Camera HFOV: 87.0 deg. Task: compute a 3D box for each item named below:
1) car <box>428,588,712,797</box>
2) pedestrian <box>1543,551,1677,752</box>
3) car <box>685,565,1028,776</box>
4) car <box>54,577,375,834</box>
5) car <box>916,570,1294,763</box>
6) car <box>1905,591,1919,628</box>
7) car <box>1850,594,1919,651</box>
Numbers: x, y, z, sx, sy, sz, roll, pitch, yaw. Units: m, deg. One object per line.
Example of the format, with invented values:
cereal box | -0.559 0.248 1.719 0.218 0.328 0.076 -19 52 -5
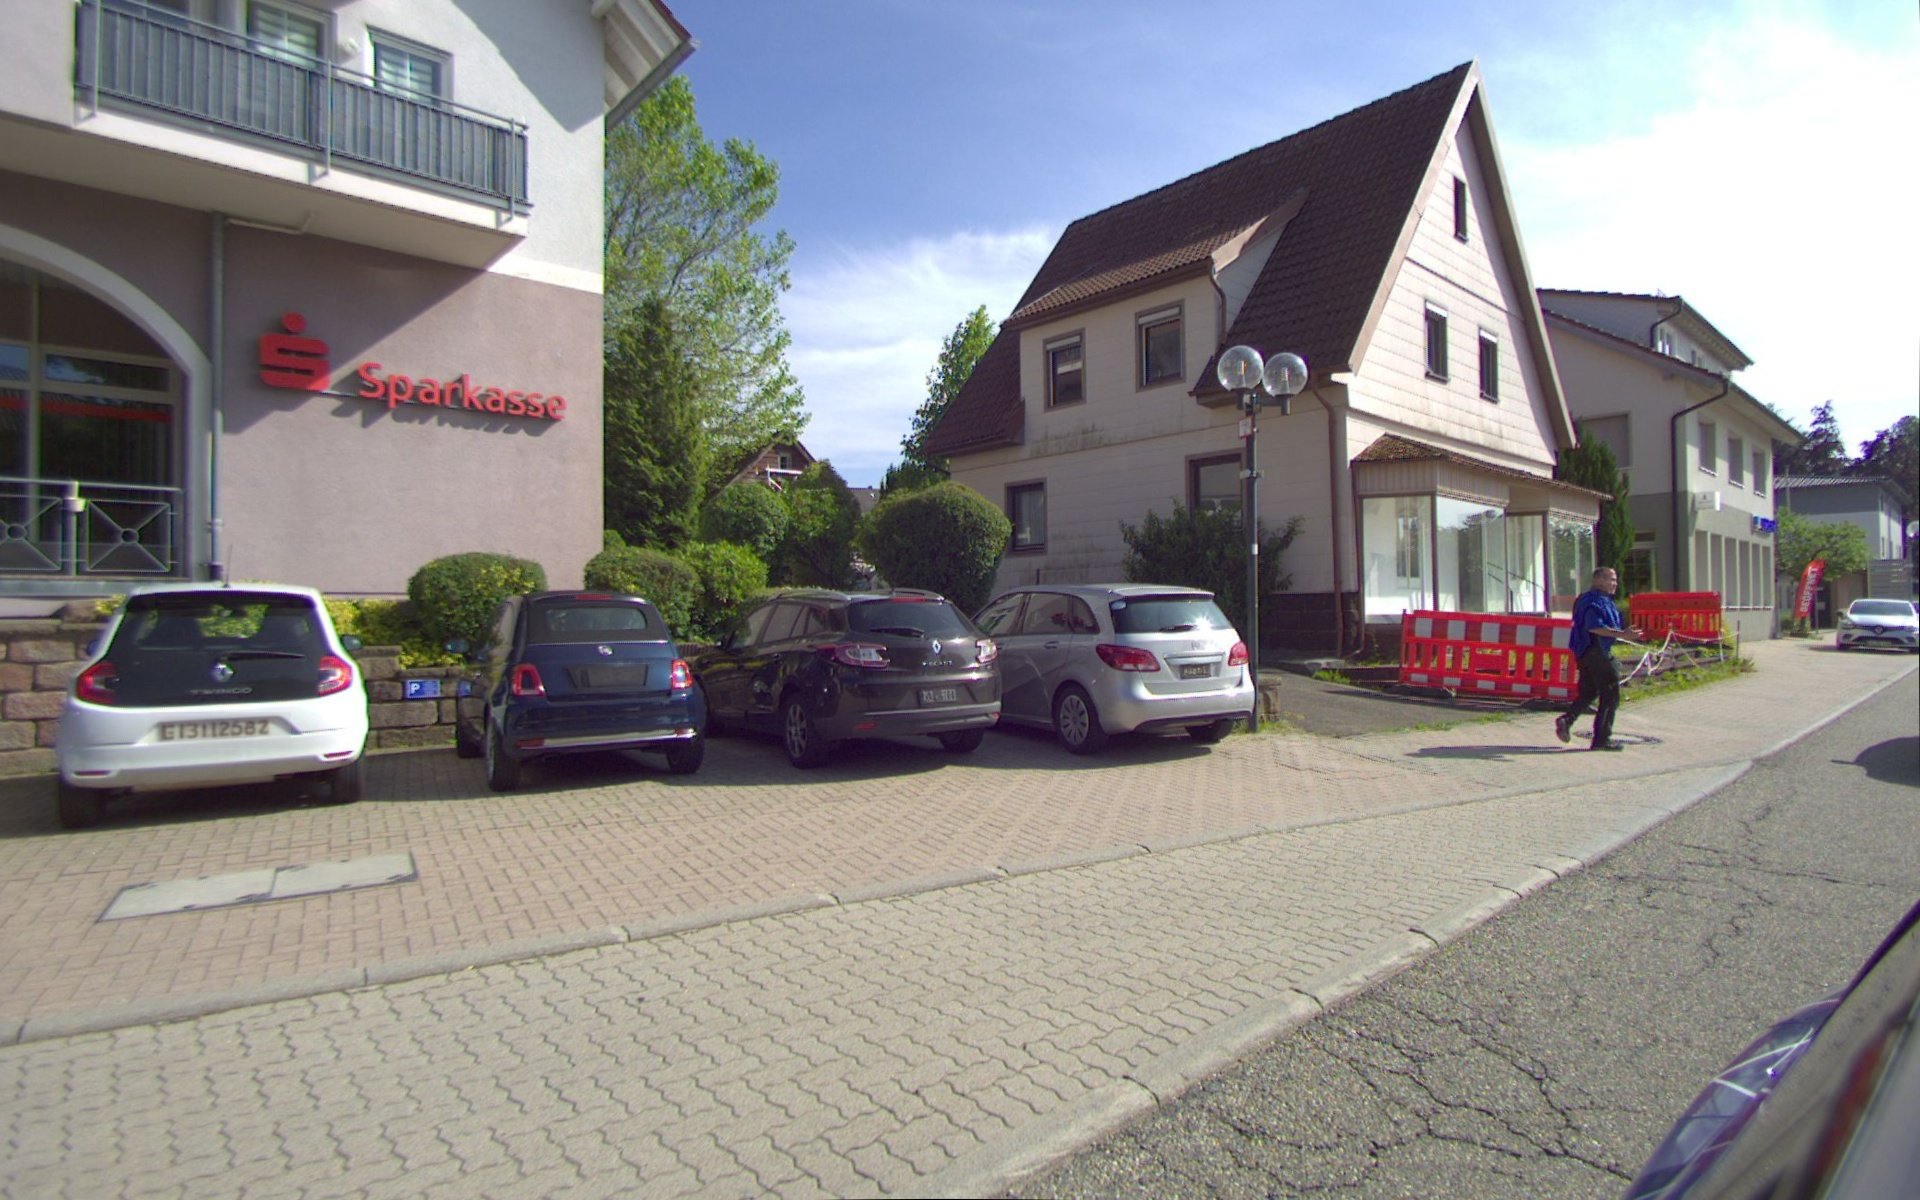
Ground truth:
car | -3.567 0.663 8.887 1.552 1.436 3.570 0 -1 -34
pedestrian | 6.236 0.453 9.710 0.961 1.807 0.801 0 0 -37
car | -1.207 0.568 9.682 1.703 1.569 4.002 0 -1 -31
car | -5.484 0.580 7.642 1.597 1.487 3.245 0 1 -34
car | 1.269 0.547 10.444 1.923 1.578 3.879 0 0 -29
car | 39.243 0.379 40.401 3.569 1.441 1.764 0 1 -40
car | 25.580 0.563 27.813 1.634 1.437 3.875 1 1 42
